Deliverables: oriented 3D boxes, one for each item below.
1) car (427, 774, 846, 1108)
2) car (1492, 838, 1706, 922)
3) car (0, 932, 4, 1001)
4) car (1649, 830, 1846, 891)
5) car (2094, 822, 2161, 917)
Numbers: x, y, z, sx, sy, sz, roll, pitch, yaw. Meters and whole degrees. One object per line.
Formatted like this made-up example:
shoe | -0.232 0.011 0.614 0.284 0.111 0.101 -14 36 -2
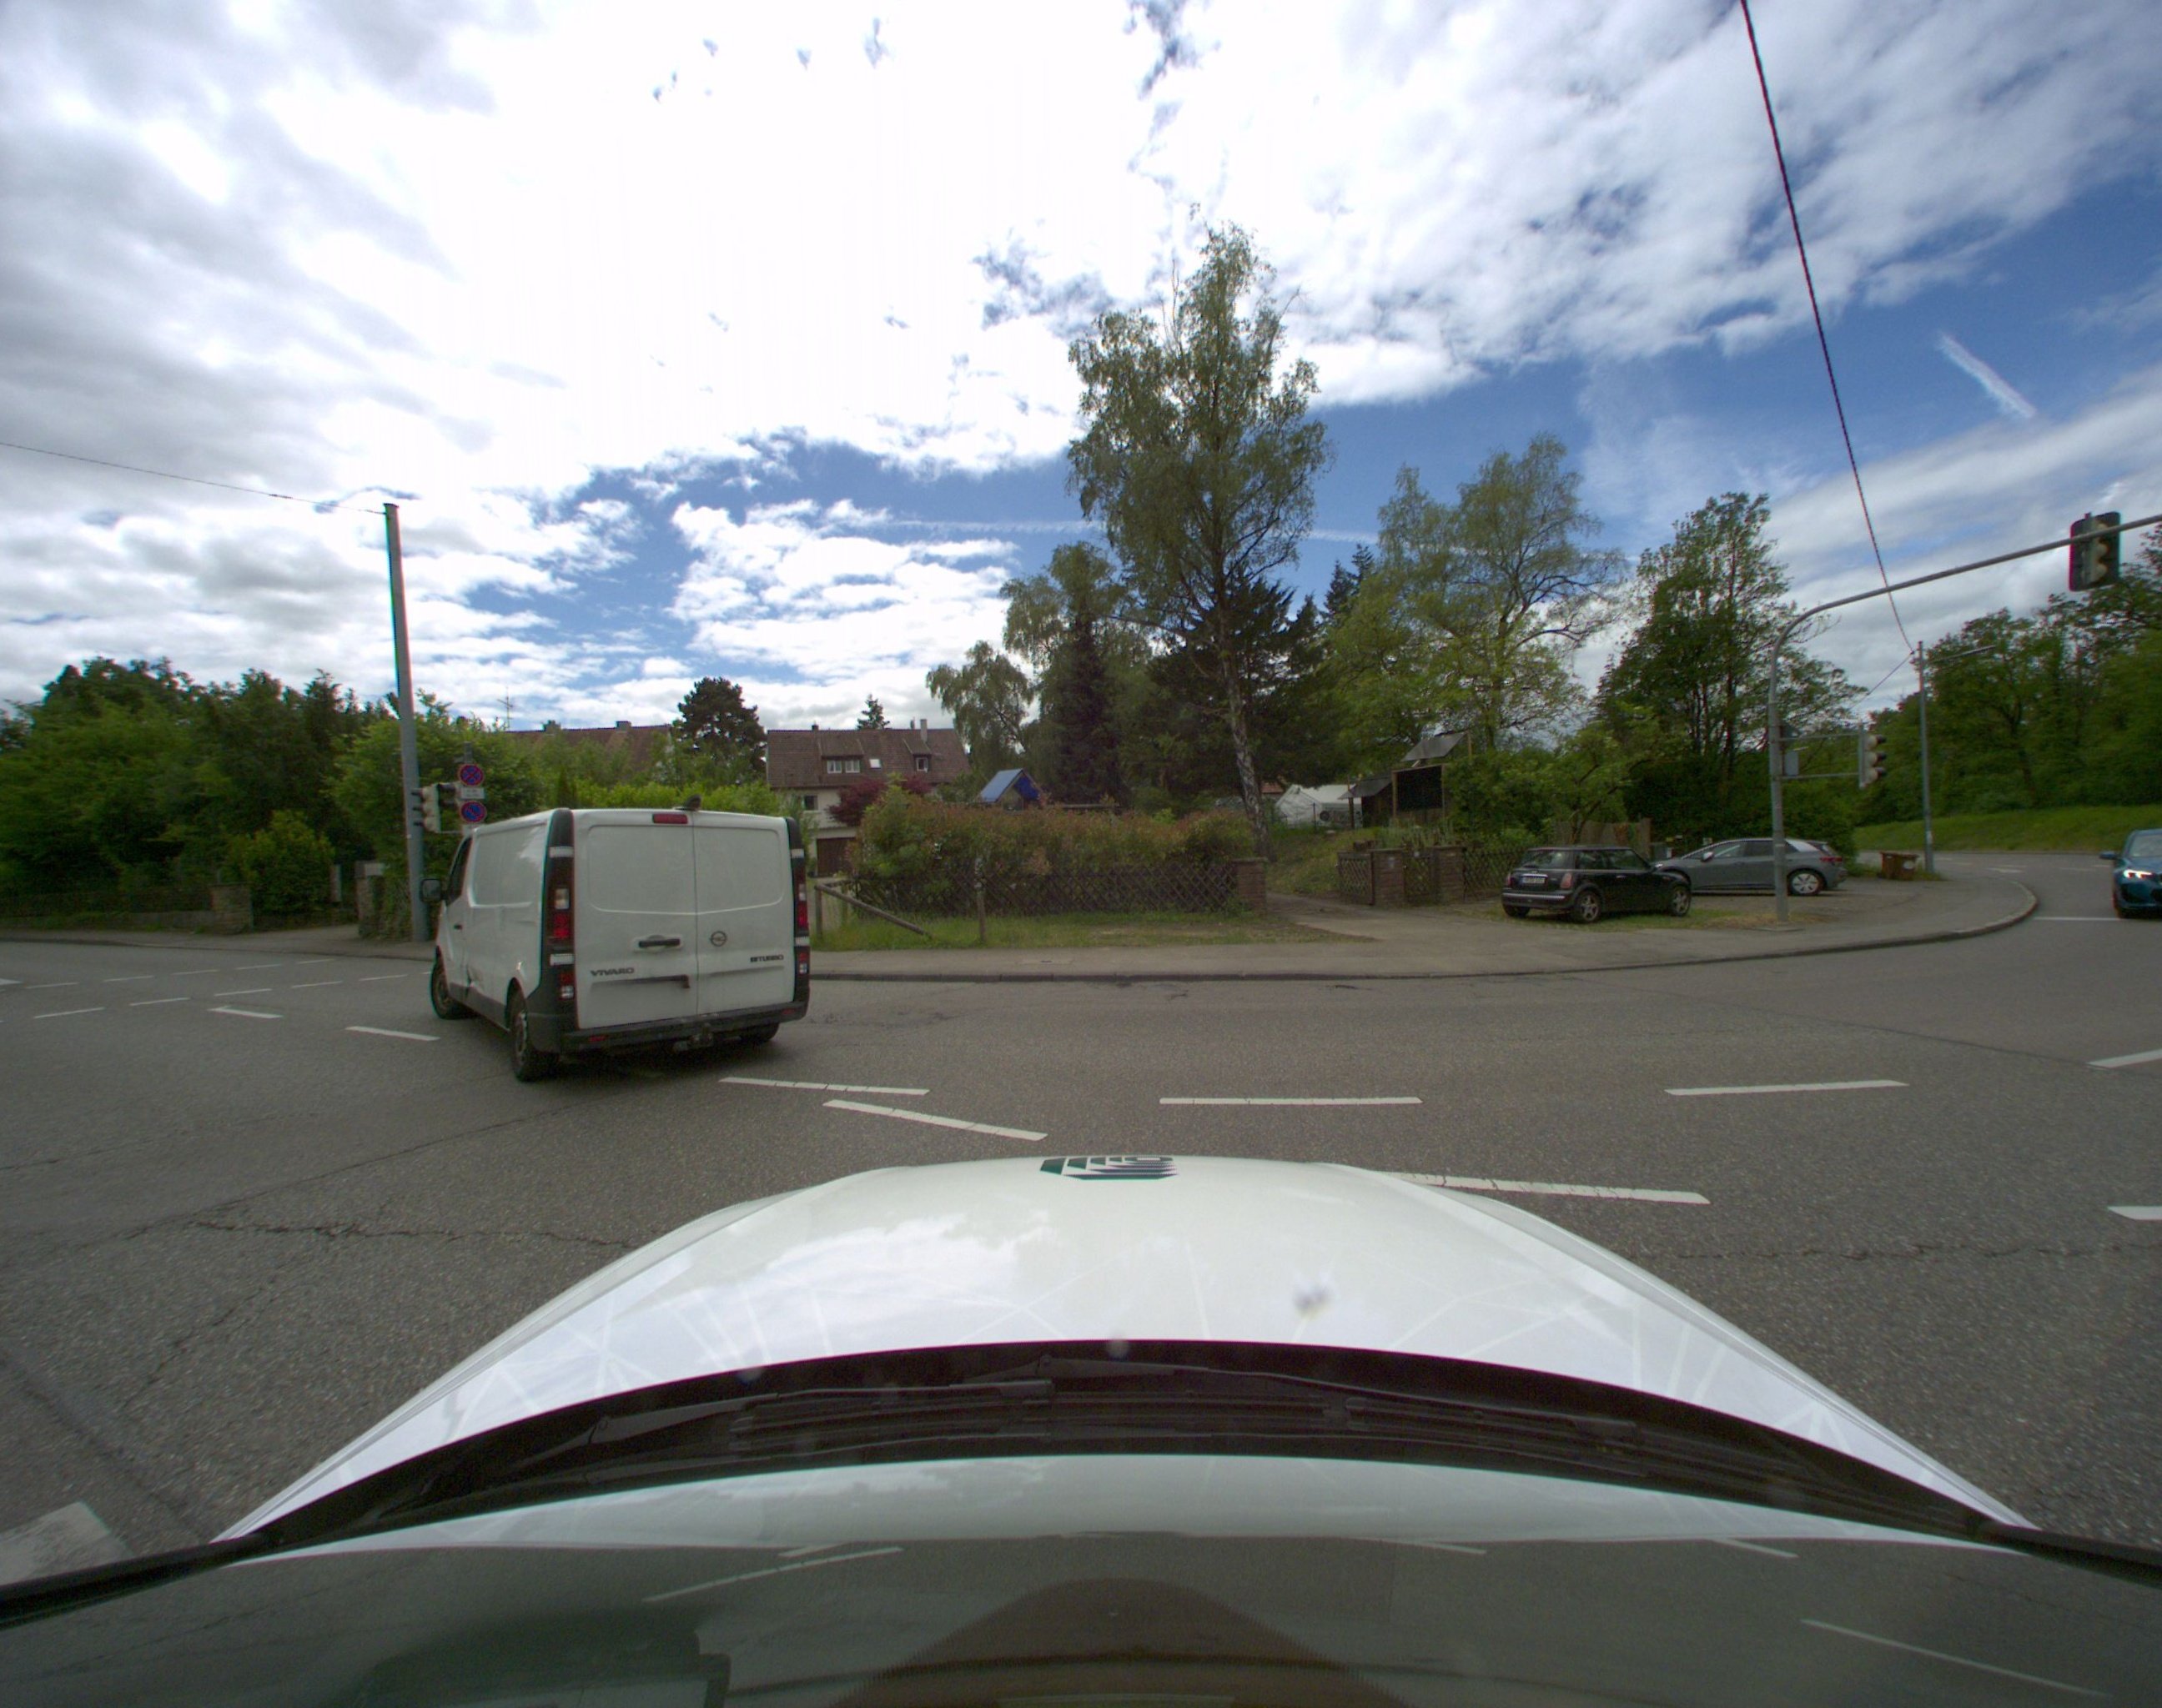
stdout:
car | -4.337 0.608 7.449 4.947 2.038 2.024 -3 -2 45
car | 9.929 0.427 15.641 3.606 1.390 1.645 -2 2 -21
car | -17.208 1.065 11.188 5.107 2.047 1.875 -2 1 26
car | 17.826 0.233 22.043 3.948 1.525 1.672 -2 -2 34
car | 20.342 0.208 15.033 4.021 1.577 1.893 -3 -2 -39
